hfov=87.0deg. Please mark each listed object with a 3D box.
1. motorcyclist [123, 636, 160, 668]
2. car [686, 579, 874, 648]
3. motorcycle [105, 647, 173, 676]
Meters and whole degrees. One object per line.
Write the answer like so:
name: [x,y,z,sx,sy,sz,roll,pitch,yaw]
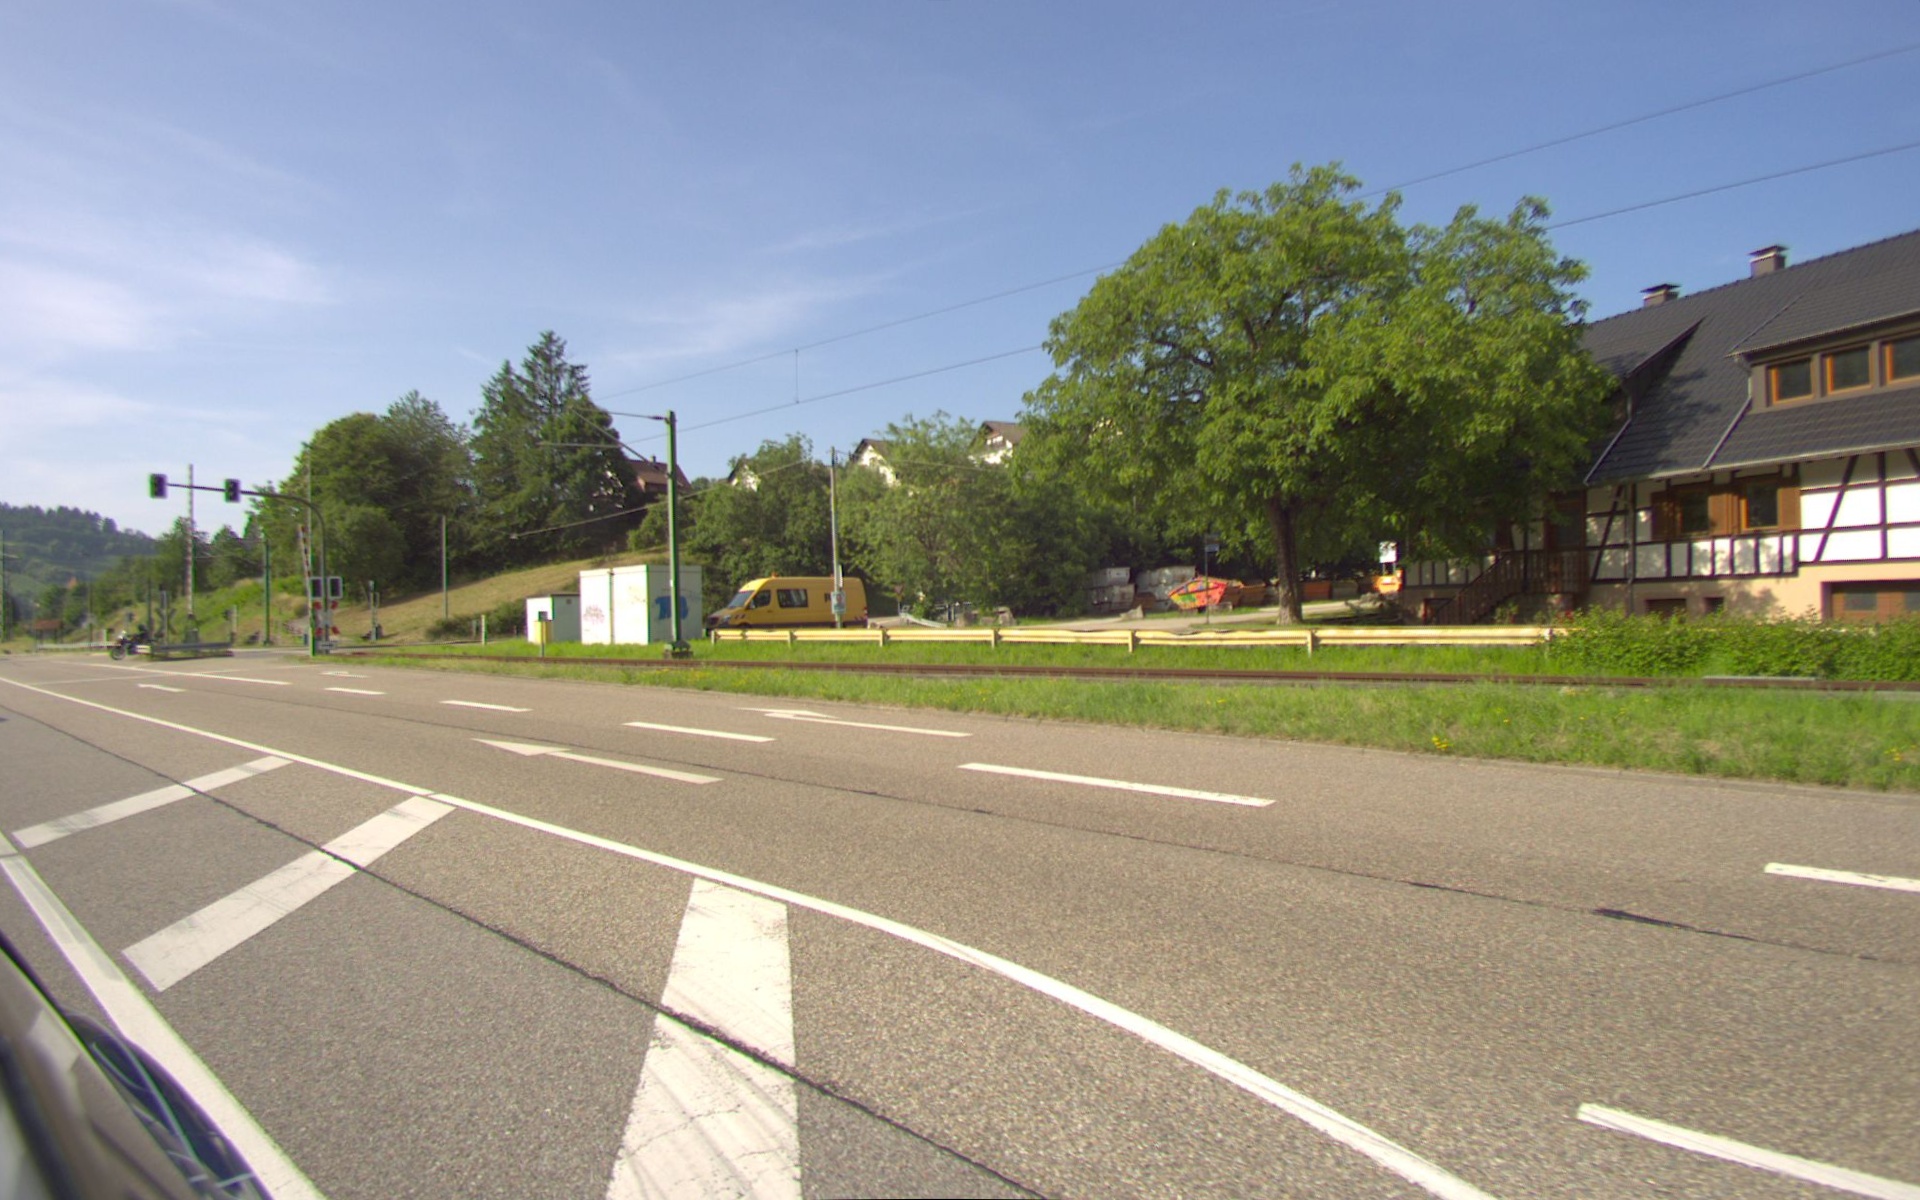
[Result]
motorcyclist: [-42.939,2.717,53.085,0.987,1.555,1.175,-3,1,28]
car: [-7.312,0.508,41.583,6.974,2.475,2.954,-2,0,-38]
motorcycle: [-42.960,3.223,52.994,1.000,1.278,2.569,-3,0,28]
